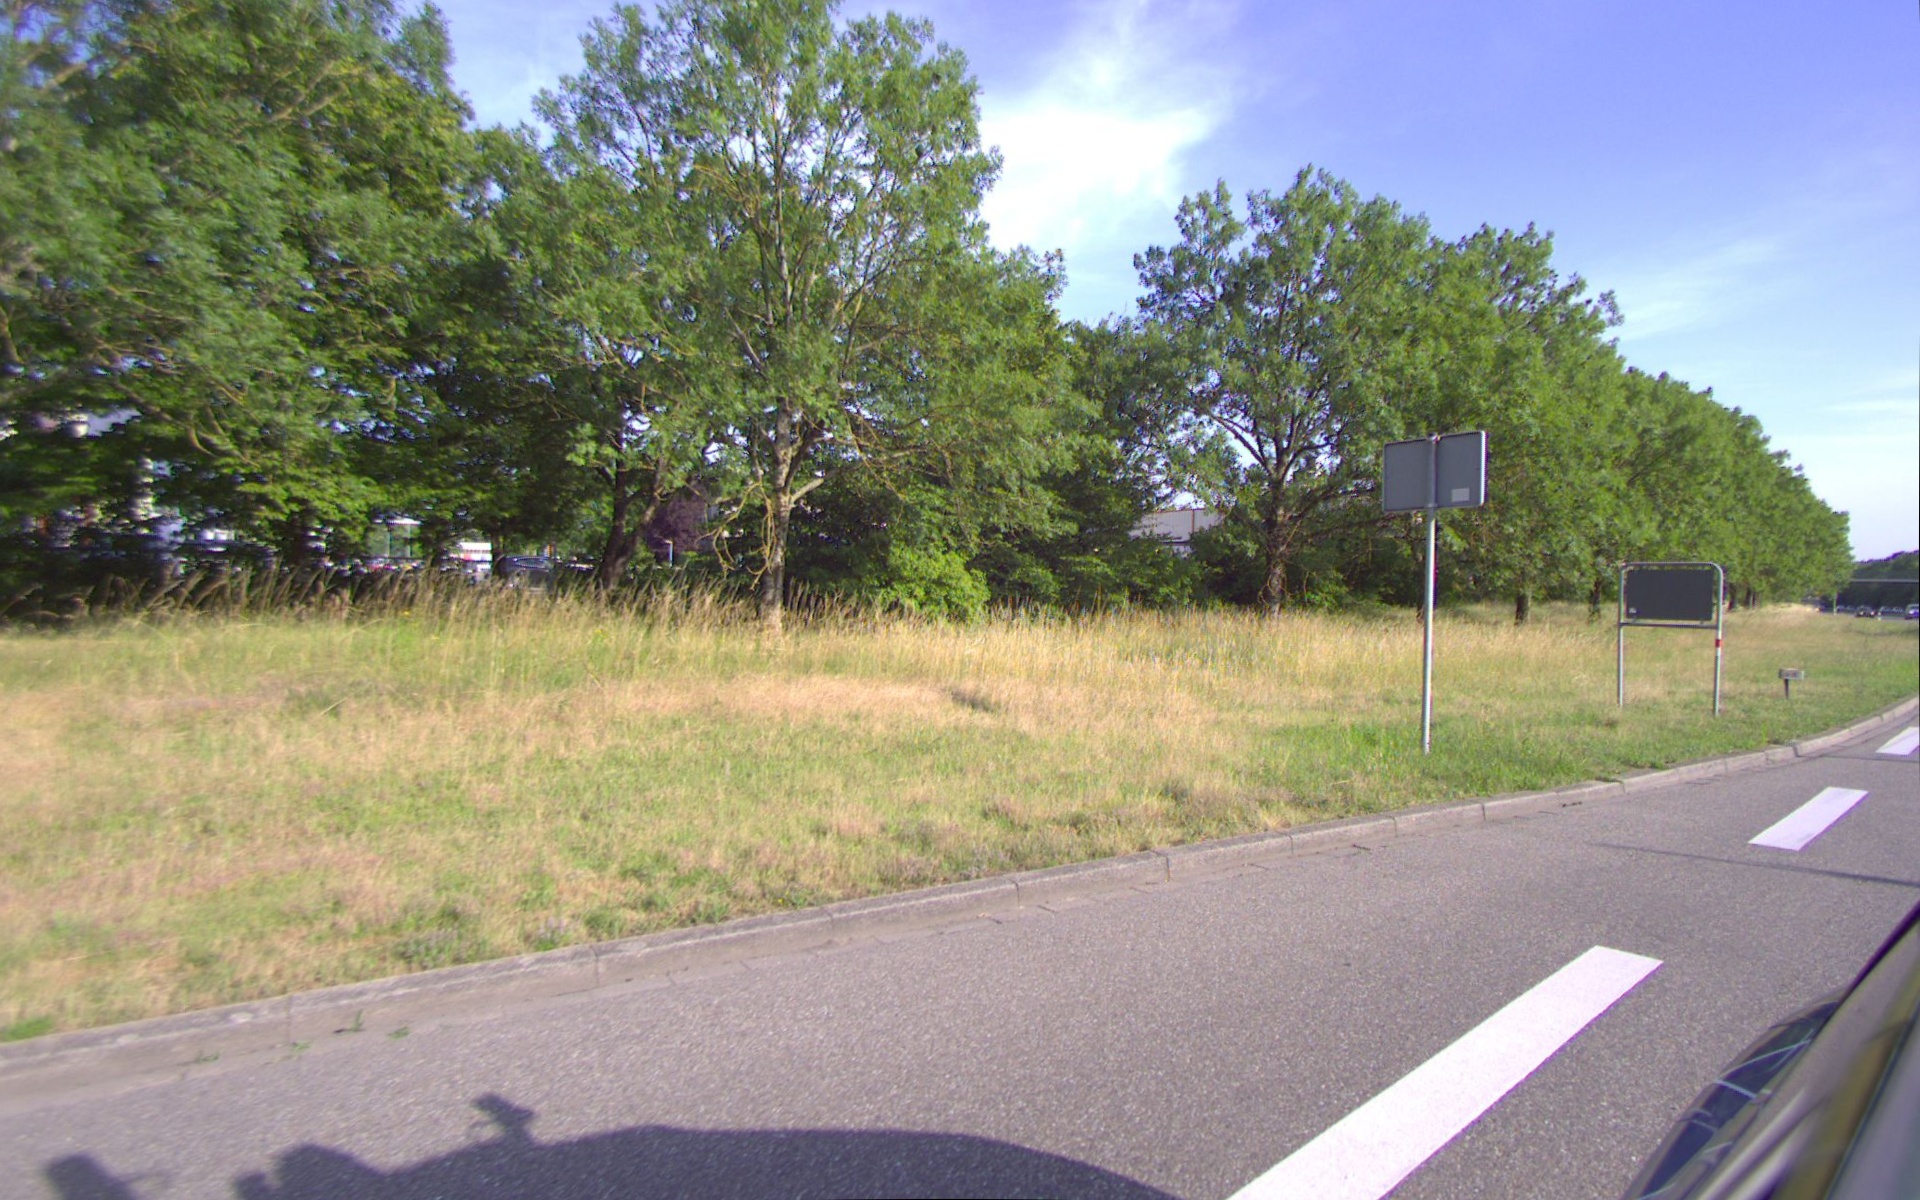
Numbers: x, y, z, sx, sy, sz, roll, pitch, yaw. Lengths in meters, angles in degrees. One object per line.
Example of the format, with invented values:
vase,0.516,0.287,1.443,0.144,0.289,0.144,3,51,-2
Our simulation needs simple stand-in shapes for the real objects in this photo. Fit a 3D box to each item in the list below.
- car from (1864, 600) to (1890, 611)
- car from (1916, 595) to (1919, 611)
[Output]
car,120.443,0.707,132.947,1.889,1.403,4.304,0,0,33
car,113.147,0.365,117.803,1.889,1.847,4.304,0,0,33
